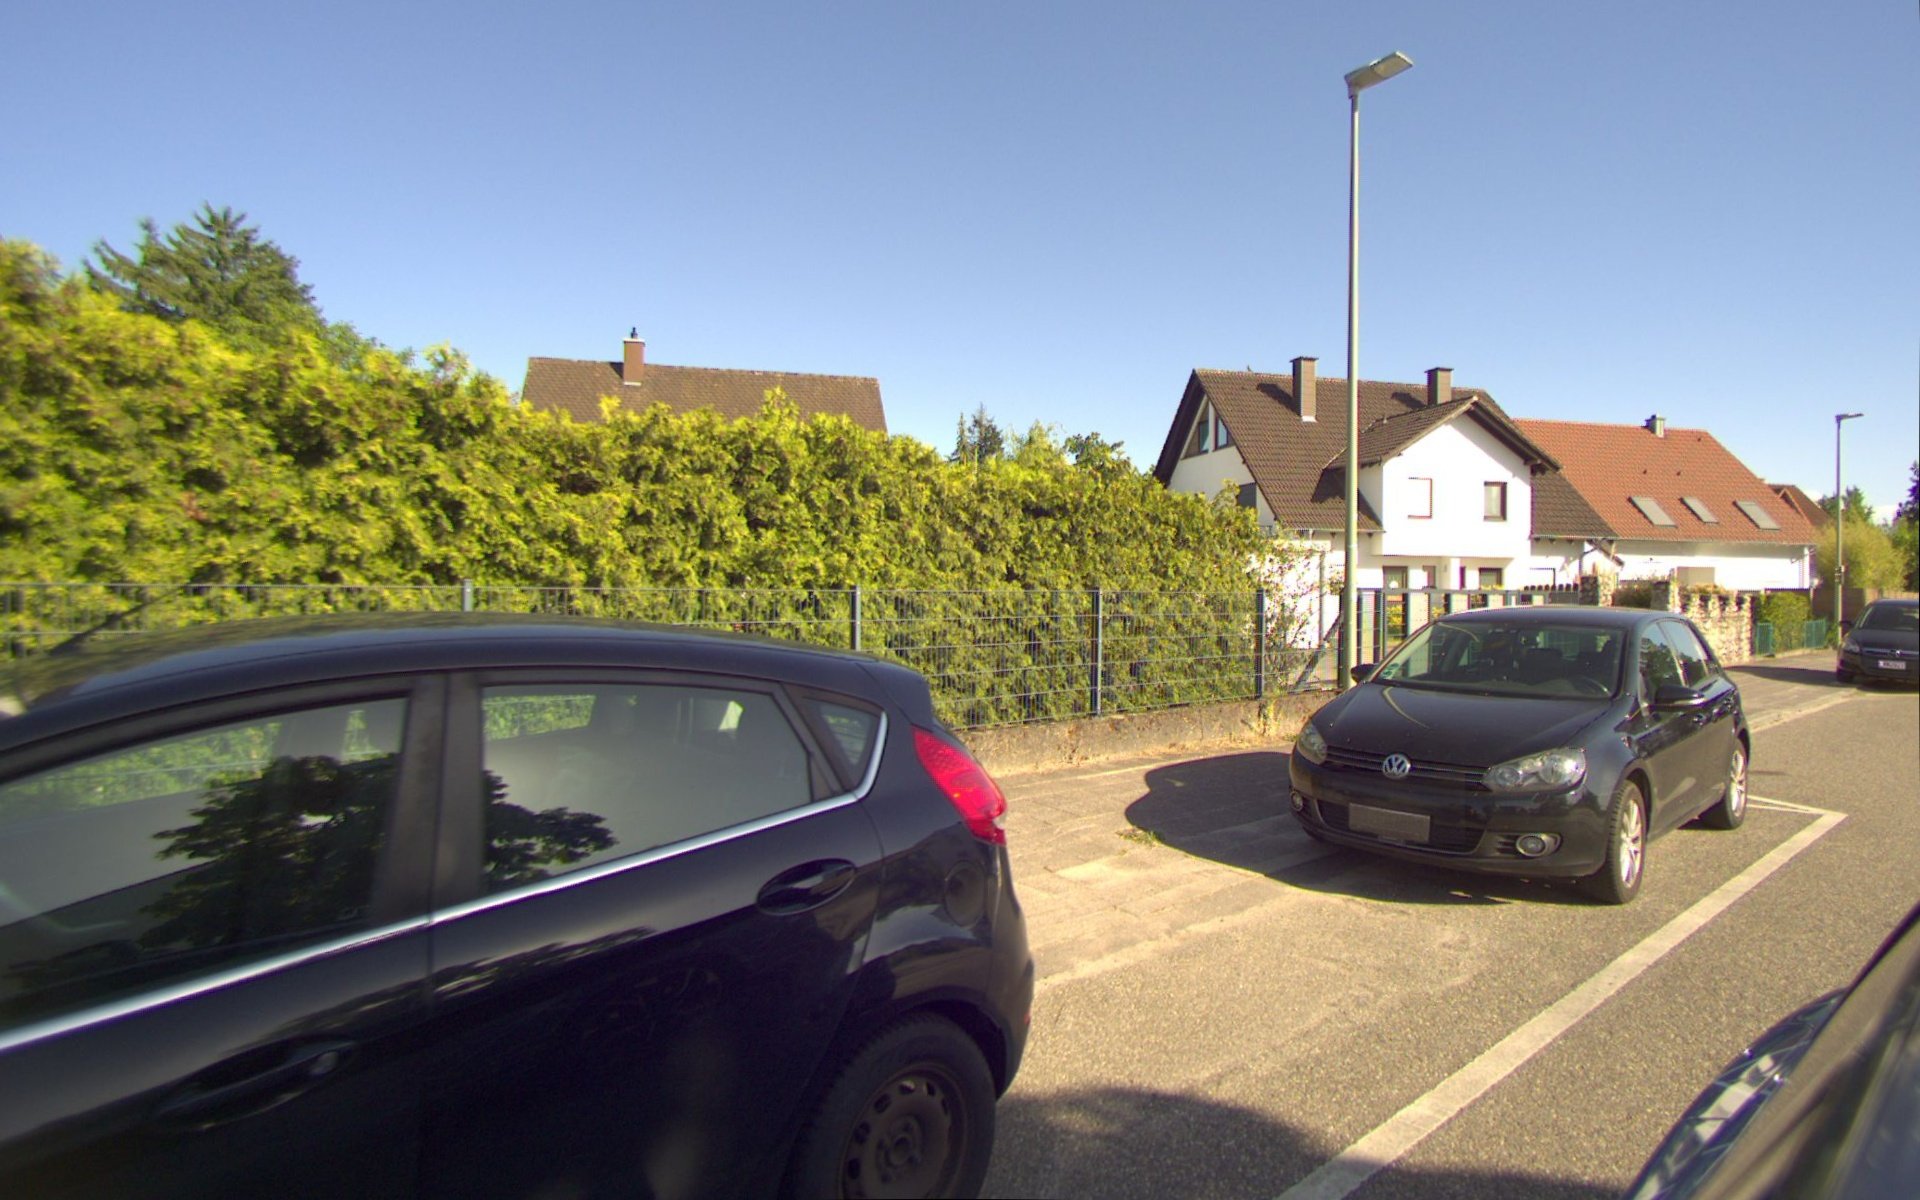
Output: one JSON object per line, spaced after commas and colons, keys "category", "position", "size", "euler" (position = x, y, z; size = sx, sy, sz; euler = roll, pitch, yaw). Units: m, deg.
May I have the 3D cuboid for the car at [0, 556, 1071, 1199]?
{"category": "car", "position": [-1.717, 0.705, 1.914], "size": [3.839, 1.524, 1.721], "euler": [0, 0, -42]}

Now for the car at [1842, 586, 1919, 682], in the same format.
{"category": "car", "position": [18.252, 0.593, 19.066], "size": [4.226, 1.680, 1.780], "euler": [0, 0, -39]}

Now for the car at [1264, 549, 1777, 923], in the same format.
{"category": "car", "position": [3.743, 0.608, 6.486], "size": [3.751, 1.680, 1.778], "euler": [0, 0, -42]}
